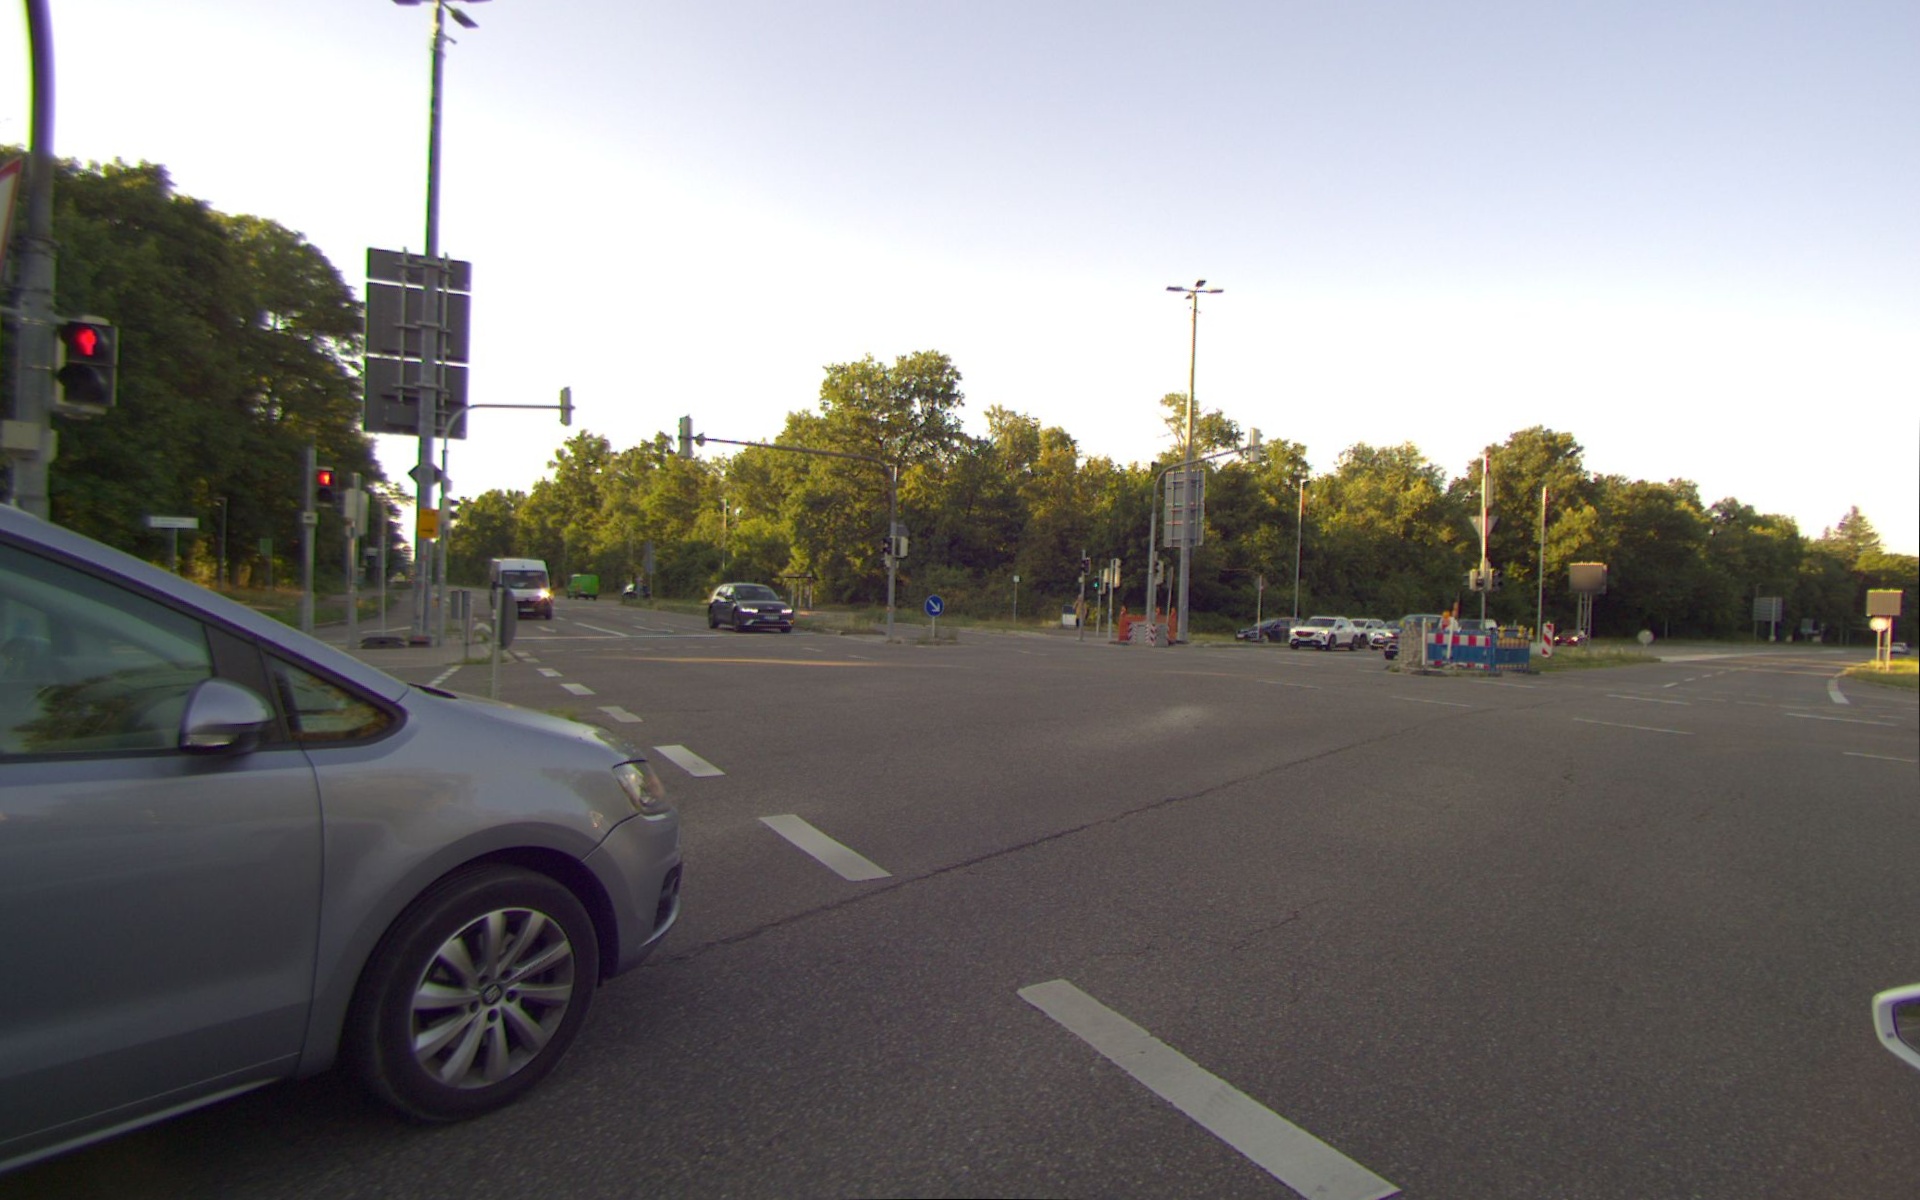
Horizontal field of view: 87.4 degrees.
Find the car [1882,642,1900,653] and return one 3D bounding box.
[{"bbox_3d":[121.767,6.180,131.378,3.093,1.365,1.532,2,0,-44],"label":"car"}]

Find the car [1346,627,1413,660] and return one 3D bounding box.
[{"bbox_3d":[20.976,2.152,50.127,1.698,1.475,4.209,2,0,43],"label":"car"}]

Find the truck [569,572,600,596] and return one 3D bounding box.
[{"bbox_3d":[-36.235,-1.553,96.859,1.978,2.149,3.965,2,0,-32],"label":"truck"}]

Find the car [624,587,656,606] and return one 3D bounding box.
[{"bbox_3d":[-26.188,-0.288,82.172,1.644,1.345,4.015,2,2,-29],"label":"car"}]

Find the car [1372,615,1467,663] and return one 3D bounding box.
[{"bbox_3d":[15.969,1.325,34.809,1.698,1.475,4.209,2,0,43],"label":"car"}]

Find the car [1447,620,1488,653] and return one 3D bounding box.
[{"bbox_3d":[34.110,2.399,67.504,1.853,2.051,4.220,2,0,35],"label":"car"}]

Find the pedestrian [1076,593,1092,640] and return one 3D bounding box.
[{"bbox_3d":[4.872,0.648,39.490,0.564,1.824,0.750,2,0,7],"label":"pedestrian"}]

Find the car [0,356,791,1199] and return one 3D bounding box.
[{"bbox_3d":[-2.722,0.395,2.118,1.842,1.747,4.642,2,0,37],"label":"car"}]

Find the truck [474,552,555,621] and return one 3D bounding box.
[{"bbox_3d":[-18.891,-0.655,42.372,2.574,2.591,5.976,2,2,-29],"label":"truck"}]

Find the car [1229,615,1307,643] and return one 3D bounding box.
[{"bbox_3d":[15.573,1.475,50.746,3.598,1.261,1.597,2,0,-25],"label":"car"}]

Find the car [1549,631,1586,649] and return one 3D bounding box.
[{"bbox_3d":[51.526,3.371,85.217,1.857,1.441,4.210,2,0,43],"label":"car"}]

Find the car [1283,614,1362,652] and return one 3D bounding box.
[{"bbox_3d":[15.894,1.432,43.924,1.698,1.475,4.209,2,0,43],"label":"car"}]

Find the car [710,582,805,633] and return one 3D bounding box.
[{"bbox_3d":[-6.928,0.220,34.059,1.979,1.540,3.968,2,1,-30],"label":"car"}]

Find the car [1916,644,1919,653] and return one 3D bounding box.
[{"bbox_3d":[139.722,7.096,145.413,2.937,1.261,1.445,2,0,-37],"label":"car"}]
